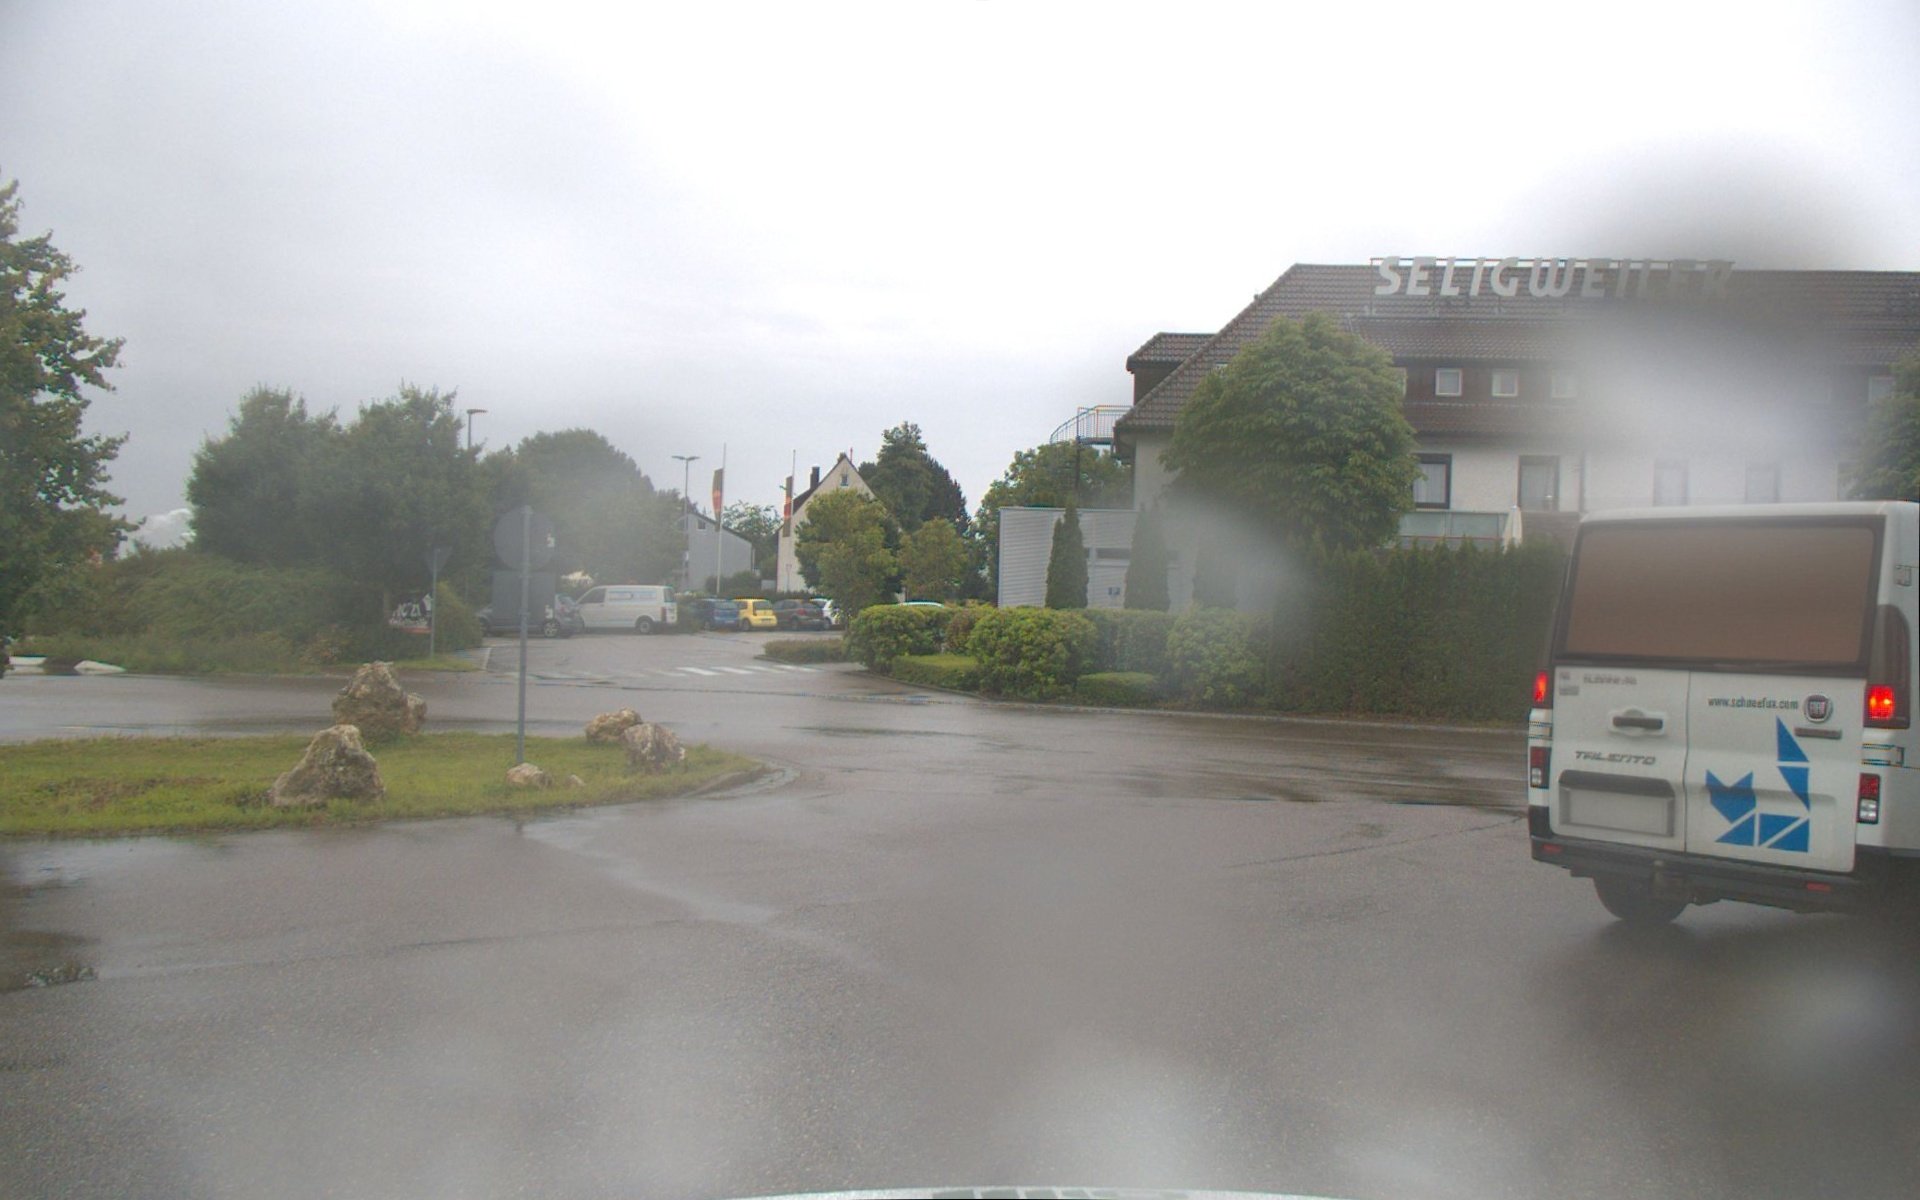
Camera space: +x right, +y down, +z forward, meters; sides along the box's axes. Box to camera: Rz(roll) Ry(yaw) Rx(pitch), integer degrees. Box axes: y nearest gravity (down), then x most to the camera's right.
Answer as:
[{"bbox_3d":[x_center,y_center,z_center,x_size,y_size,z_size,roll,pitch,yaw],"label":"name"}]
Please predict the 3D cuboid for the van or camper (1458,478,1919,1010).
[{"bbox_3d":[5.157,0.628,8.479,5.131,1.979,2.170,3,-1,-33],"label":"van or camper"}]

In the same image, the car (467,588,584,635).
[{"bbox_3d":[-15.197,0.381,57.895,3.653,1.578,1.451,1,0,5],"label":"car"}]

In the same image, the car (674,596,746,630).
[{"bbox_3d":[-11.369,0.583,75.069,1.542,1.483,3.626,0,0,-40],"label":"car"}]

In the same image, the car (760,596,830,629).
[{"bbox_3d":[-7.897,0.578,78.936,1.571,1.483,3.626,0,0,-40],"label":"car"}]

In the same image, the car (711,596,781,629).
[{"bbox_3d":[-10.053,0.556,77.468,1.571,1.483,3.626,0,0,-40],"label":"car"}]

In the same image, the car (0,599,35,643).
[{"bbox_3d":[-40.167,0.852,67.027,1.714,1.789,4.350,0,-1,36],"label":"car"}]

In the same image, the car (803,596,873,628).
[{"bbox_3d":[-5.942,0.553,80.471,1.571,1.483,3.626,0,0,-40],"label":"car"}]

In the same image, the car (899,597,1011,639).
[{"bbox_3d":[-0.149,0.668,62.332,4.087,1.524,1.719,0,0,5],"label":"car"}]

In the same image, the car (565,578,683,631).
[{"bbox_3d":[-13.737,0.172,67.781,4.425,2.069,1.646,1,0,5],"label":"car"}]
